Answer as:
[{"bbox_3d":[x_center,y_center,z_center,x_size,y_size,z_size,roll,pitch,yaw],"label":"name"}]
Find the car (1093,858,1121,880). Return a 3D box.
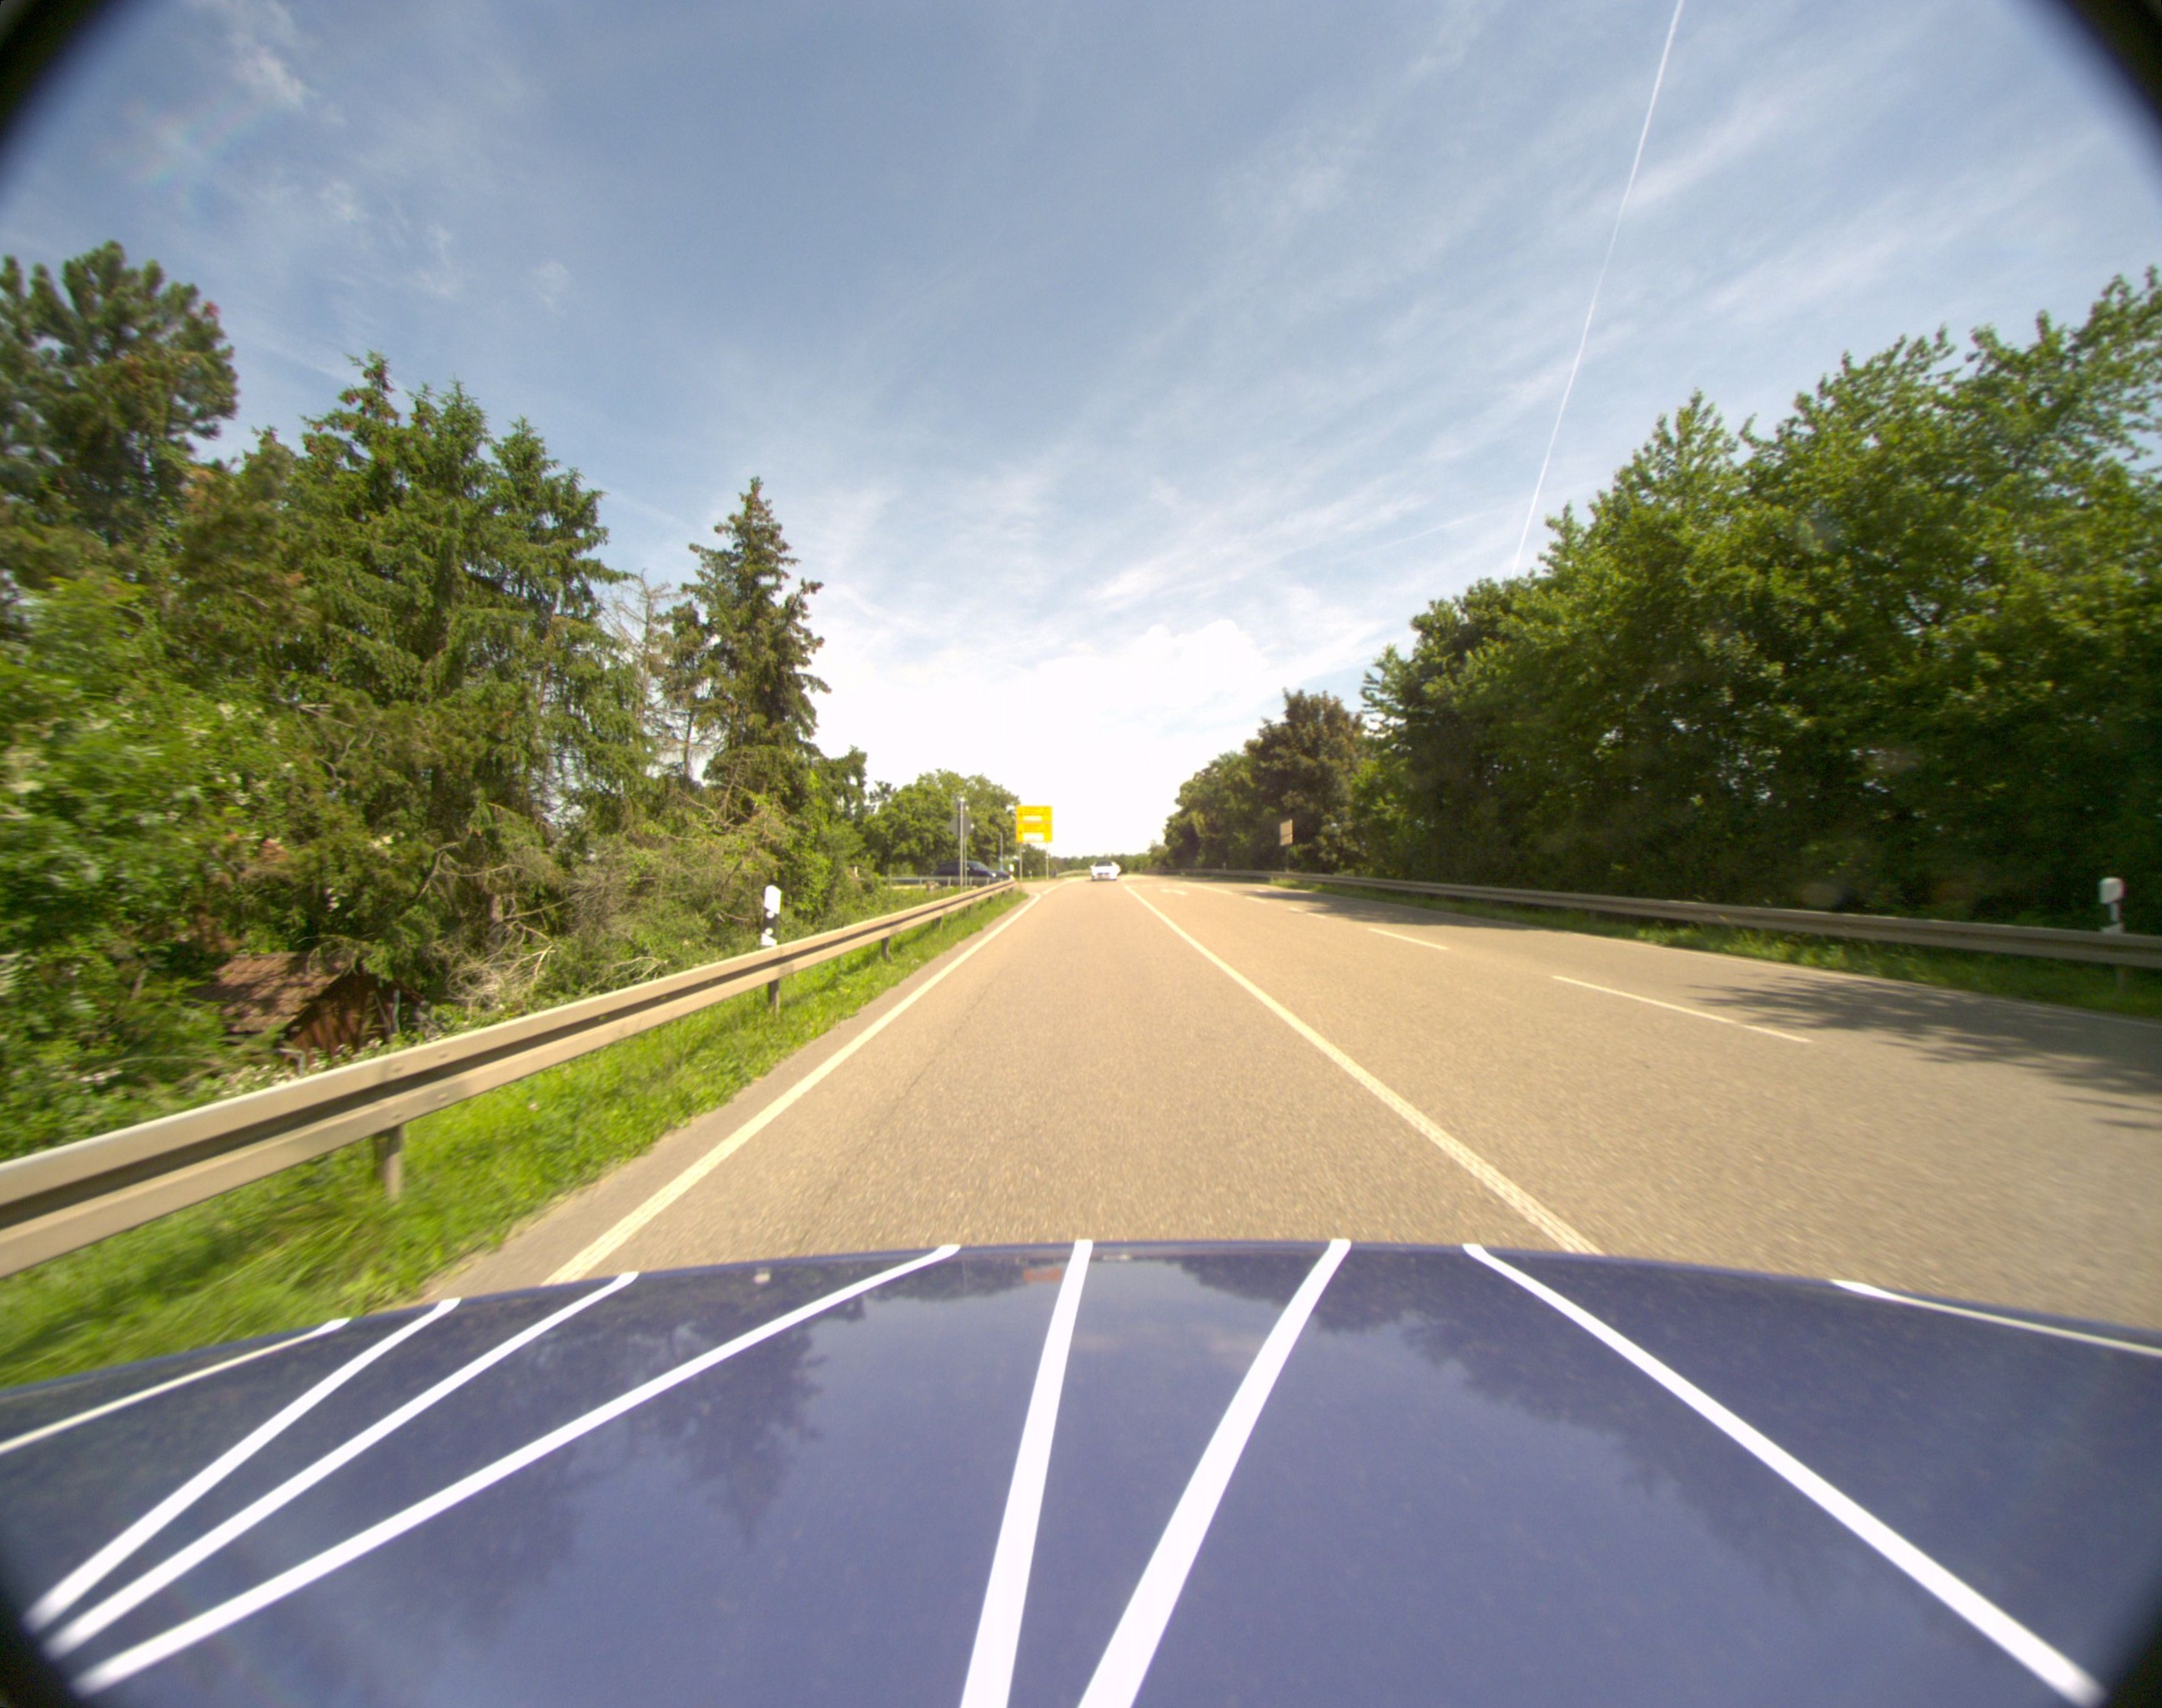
[{"bbox_3d":[1.862,1.053,55.128,1.929,1.441,4.535,-1,0,1],"label":"car"}]

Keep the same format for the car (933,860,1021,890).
[{"bbox_3d":[-5.824,1.173,42.348,4.418,1.580,2.068,-2,0,27],"label":"car"}]

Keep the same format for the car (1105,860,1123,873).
[{"bbox_3d":[3.778,1.390,86.992,1.929,1.441,4.001,0,0,2],"label":"car"}]
